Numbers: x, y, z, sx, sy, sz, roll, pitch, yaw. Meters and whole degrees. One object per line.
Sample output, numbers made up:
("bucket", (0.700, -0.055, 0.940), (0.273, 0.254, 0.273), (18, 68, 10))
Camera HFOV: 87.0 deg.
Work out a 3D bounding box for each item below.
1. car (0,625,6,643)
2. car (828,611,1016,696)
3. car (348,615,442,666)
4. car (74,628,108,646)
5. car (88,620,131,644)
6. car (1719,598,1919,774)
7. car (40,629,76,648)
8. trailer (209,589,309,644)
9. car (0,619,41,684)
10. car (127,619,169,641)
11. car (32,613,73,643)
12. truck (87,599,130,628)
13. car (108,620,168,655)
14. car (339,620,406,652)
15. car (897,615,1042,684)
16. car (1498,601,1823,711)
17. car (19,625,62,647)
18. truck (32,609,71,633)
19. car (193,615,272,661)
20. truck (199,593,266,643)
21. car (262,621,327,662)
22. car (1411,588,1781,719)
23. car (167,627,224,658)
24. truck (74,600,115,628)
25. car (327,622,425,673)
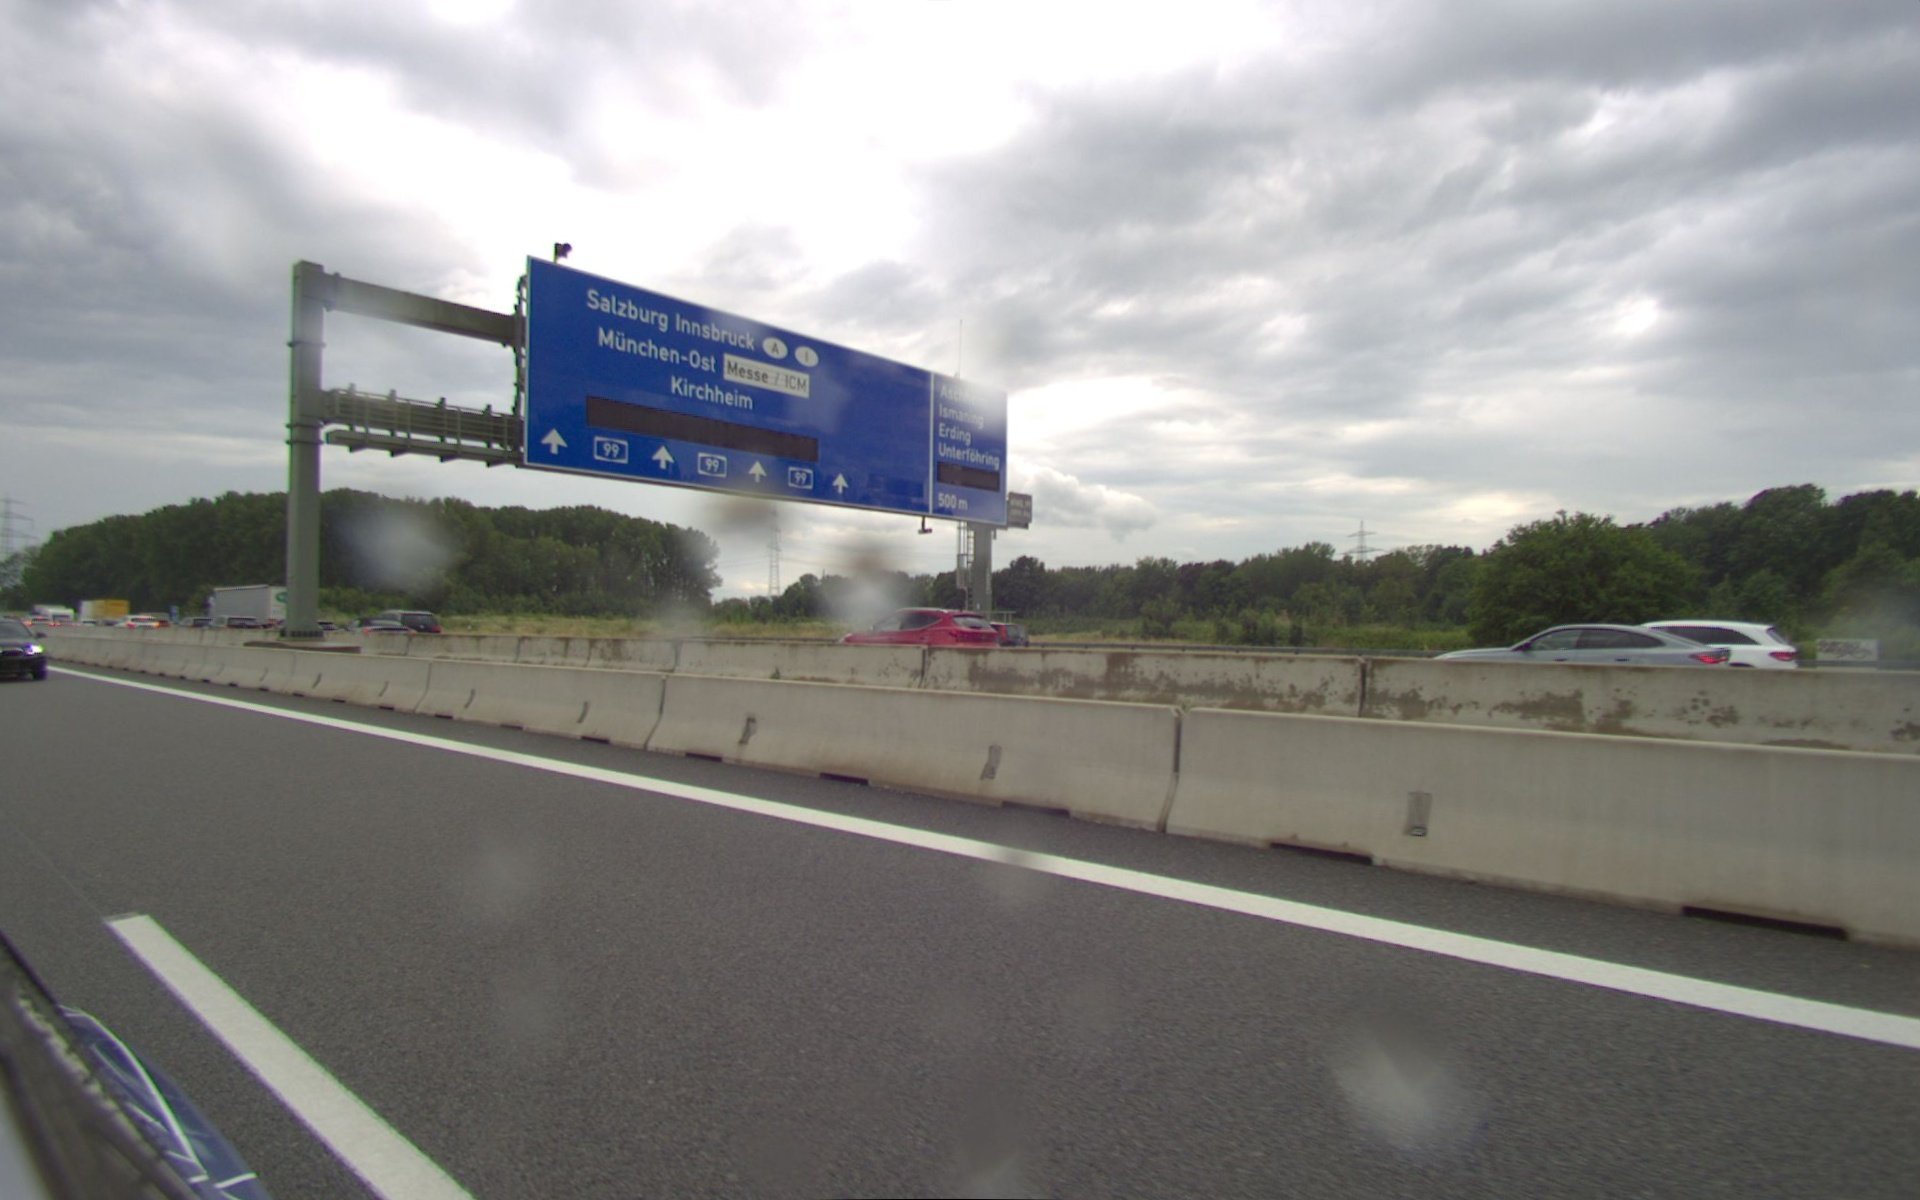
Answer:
("car", (-94.258, 3.317, 98.202), (3.997, 1.763, 1.973), (-2, -1, 40))
("car", (-0.947, 1.170, 23.267), (4.334, 1.758, 1.661), (-2, -1, 41))
("car", (-23.939, 1.685, 42.813), (4.757, 2.029, 1.973), (-2, -1, 41))
("car", (-90.399, 3.819, 105.275), (4.695, 1.728, 1.973), (-2, -1, 40))
("car", (-69.412, 2.622, 82.553), (4.757, 1.887, 1.973), (-2, -1, 41))
("car", (12.074, 0.978, 12.000), (4.762, 2.029, 1.973), (-2, -1, 41))
("car", (-86.432, 3.692, 96.982), (4.695, 1.728, 1.973), (-2, -1, 40))
("trailer", (-56.430, 1.387, 81.275), (13.798, 4.059, 3.206), (-2, -1, 40))
("car", (-22.786, 1.186, 23.361), (3.998, 1.426, 1.898), (-2, -2, 41))
("car", (-71.444, 2.621, 89.019), (5.389, 1.887, 1.973), (-2, -1, 41))
("car", (-105.867, 3.249, 118.035), (6.555, 3.302, 2.634), (-2, -1, 39))
("truck", (-111.624, 1.786, 132.590), (9.575, 3.640, 2.848), (-1, -1, 41))
("car", (-47.835, 2.172, 58.841), (4.359, 1.906, 1.973), (-2, -1, 41))
("car", (-38.750, 2.343, 66.681), (4.826, 1.967, 2.405), (-2, -1, 41))
("car", (0.257, 1.545, 32.645), (4.559, 2.029, 1.888), (-2, -1, 41))
("car", (14.163, 1.051, 20.674), (5.222, 1.967, 2.219), (-2, -1, 41))
("car", (-74.886, 2.908, 82.406), (4.868, 1.728, 1.973), (-2, -1, 40))
("truck", (-131.362, 3.100, 146.299), (9.194, 3.315, 2.880), (-2, -1, 40))
("car", (-34.227, 1.770, 47.563), (4.757, 2.029, 1.973), (-2, -1, 41))
("truck", (-61.714, 1.549, 85.813), (6.227, 4.088, 3.188), (-2, -1, 40))
("car", (-35.112, 2.153, 53.331), (3.998, 2.029, 1.863), (-2, -1, 41))
("car", (11.018, 0.859, 17.794), (5.222, 1.967, 2.219), (-2, -1, 41))
("car", (-49.509, 2.735, 65.502), (4.757, 1.887, 1.973), (-2, -1, 41))
("truck", (-118.669, 1.930, 138.729), (10.306, 3.640, 2.848), (-1, -1, 41))
("car", (-20.000, 1.579, 34.624), (3.998, 1.608, 1.711), (-2, -1, 41))
